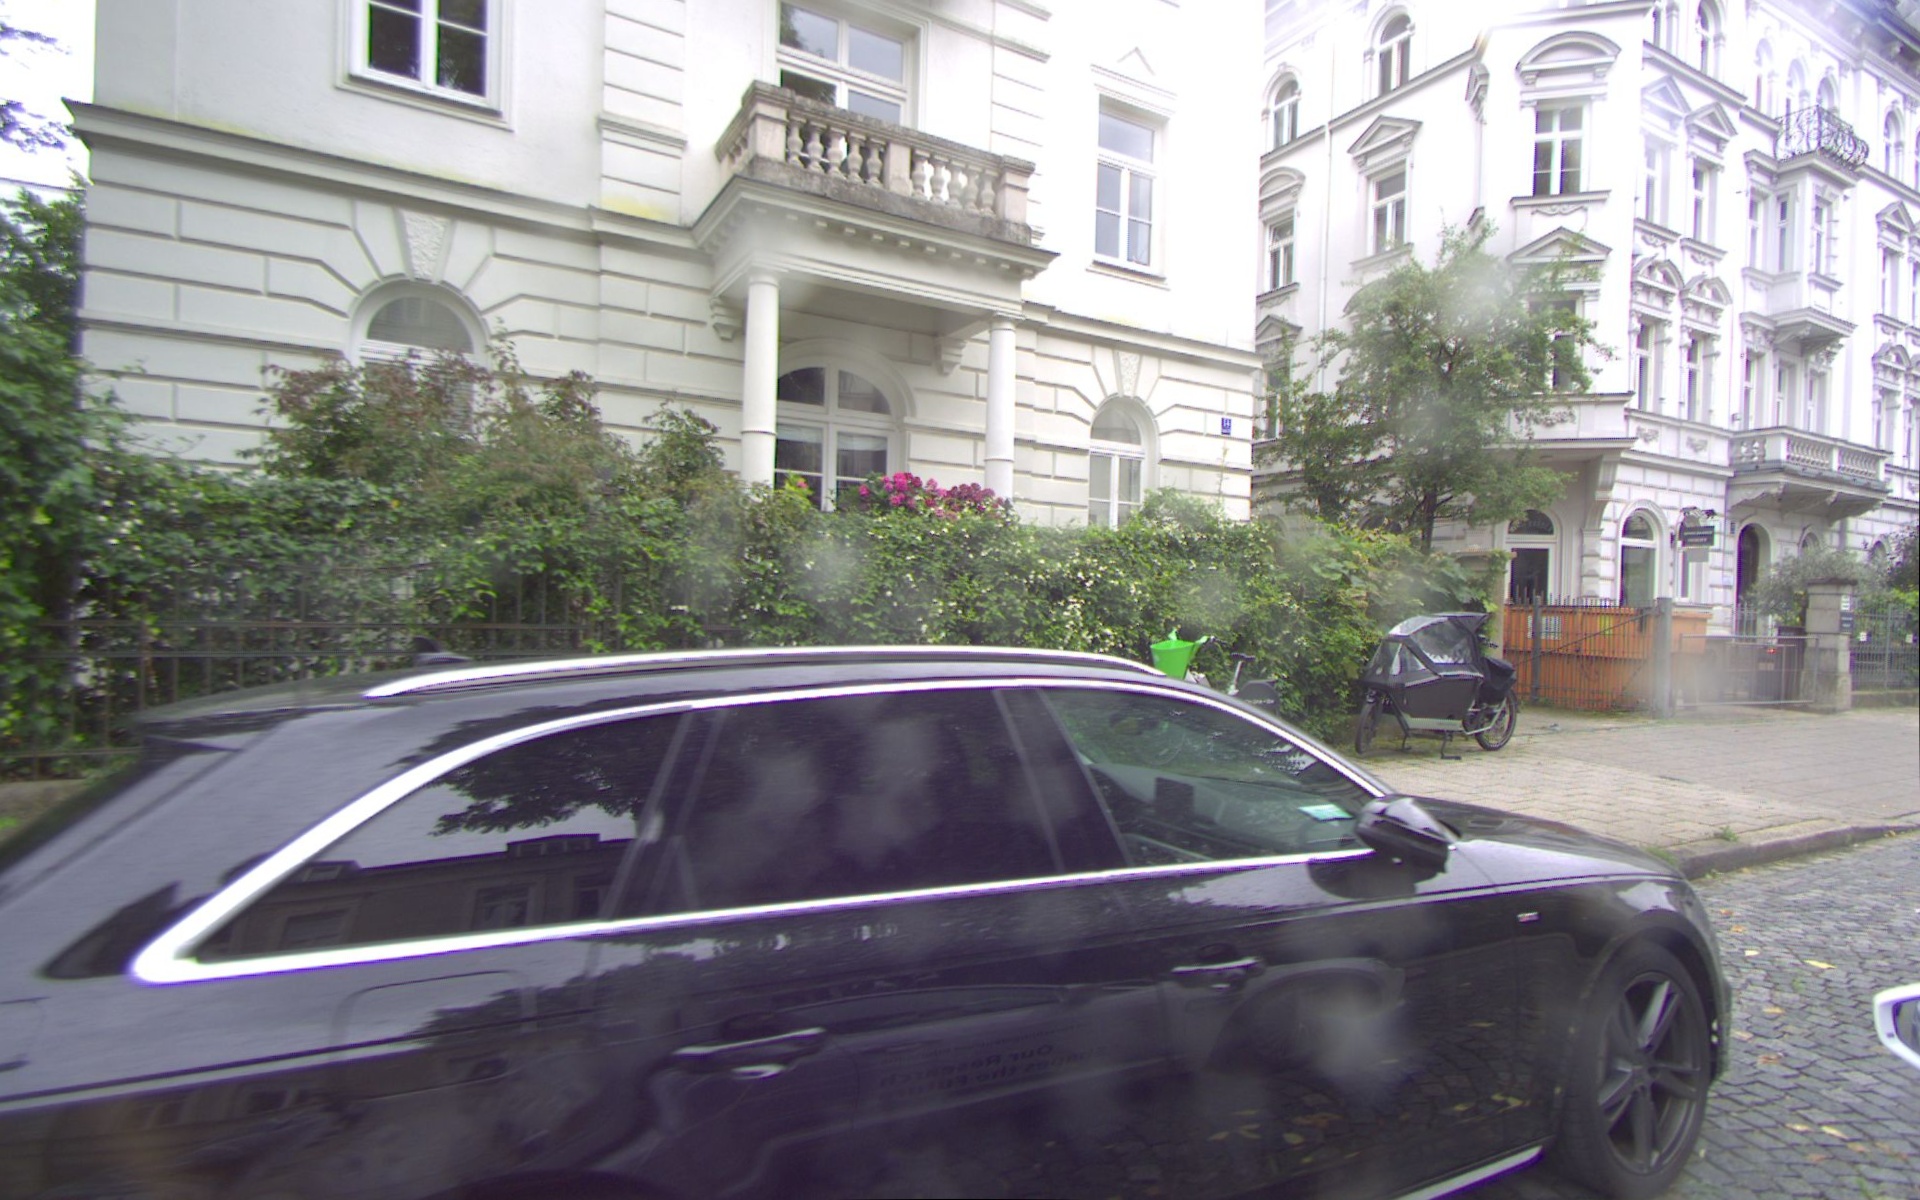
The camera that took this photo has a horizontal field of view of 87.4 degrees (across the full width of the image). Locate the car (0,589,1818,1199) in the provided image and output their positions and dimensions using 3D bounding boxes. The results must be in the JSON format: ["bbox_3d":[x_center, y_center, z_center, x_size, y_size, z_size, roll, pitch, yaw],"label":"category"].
[{"bbox_3d":[0.107,0.784,2.685,4.352,1.436,1.879,1,-3,-29],"label":"car"}]

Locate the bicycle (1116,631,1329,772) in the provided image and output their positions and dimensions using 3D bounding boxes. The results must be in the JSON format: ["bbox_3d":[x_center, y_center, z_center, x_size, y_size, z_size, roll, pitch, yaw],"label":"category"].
[{"bbox_3d":[2.389,0.868,9.043,2.027,1.137,0.574,1,0,-31],"label":"bicycle"}]

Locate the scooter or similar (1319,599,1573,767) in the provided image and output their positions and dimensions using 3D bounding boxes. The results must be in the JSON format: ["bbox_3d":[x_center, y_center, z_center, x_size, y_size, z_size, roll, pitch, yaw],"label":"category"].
[{"bbox_3d":[4.871,0.774,10.008,2.626,1.461,0.936,1,2,-31],"label":"scooter or similar"}]
